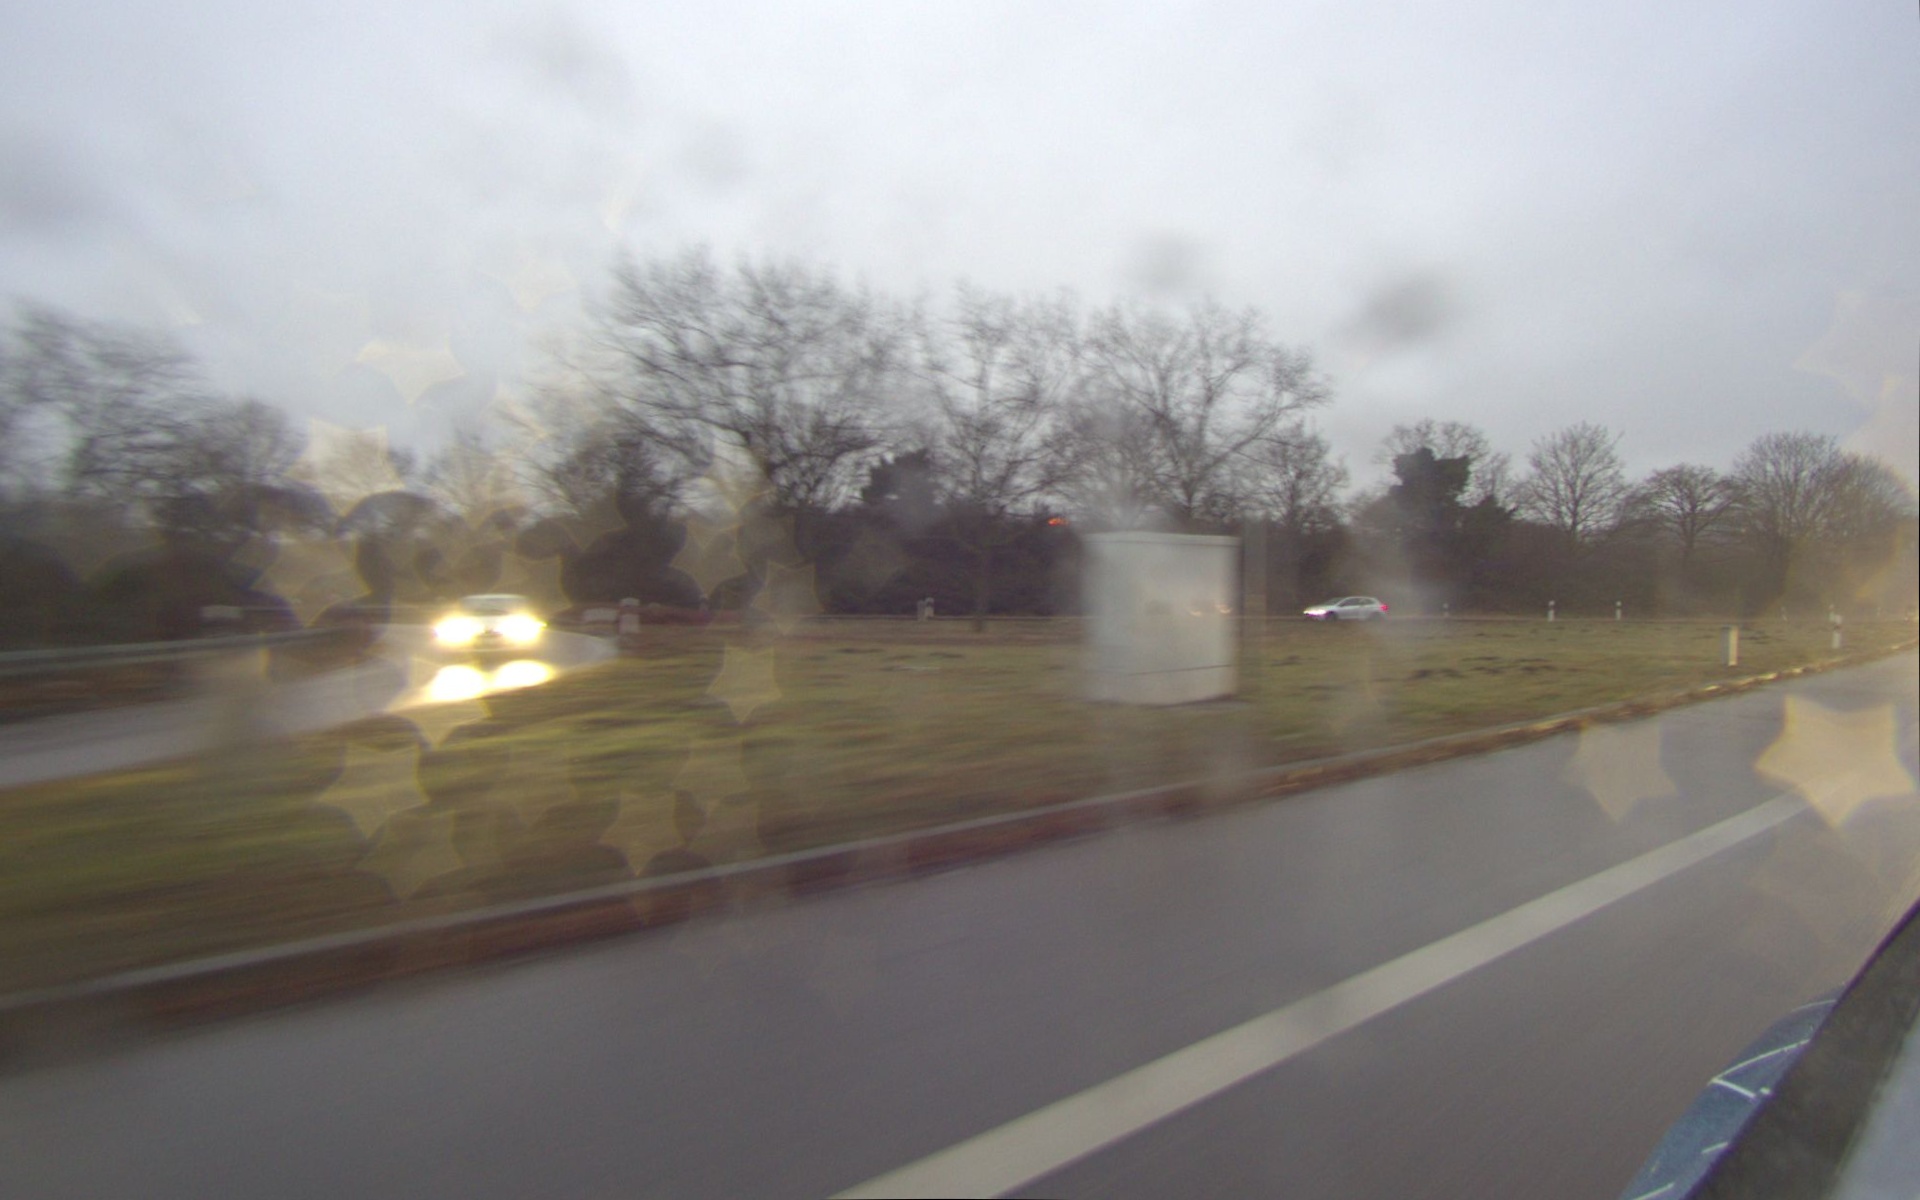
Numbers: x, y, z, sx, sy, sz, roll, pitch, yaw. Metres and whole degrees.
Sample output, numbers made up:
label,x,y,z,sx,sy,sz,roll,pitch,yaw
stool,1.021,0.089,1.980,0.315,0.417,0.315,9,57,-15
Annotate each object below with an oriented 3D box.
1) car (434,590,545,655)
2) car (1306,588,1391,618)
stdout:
label,x,y,z,sx,sy,sz,roll,pitch,yaw
car,-11.031,0.452,24.015,1.895,1.376,4.406,0,1,-19
car,20.107,0.143,52.426,3.714,1.452,1.732,0,2,-7
